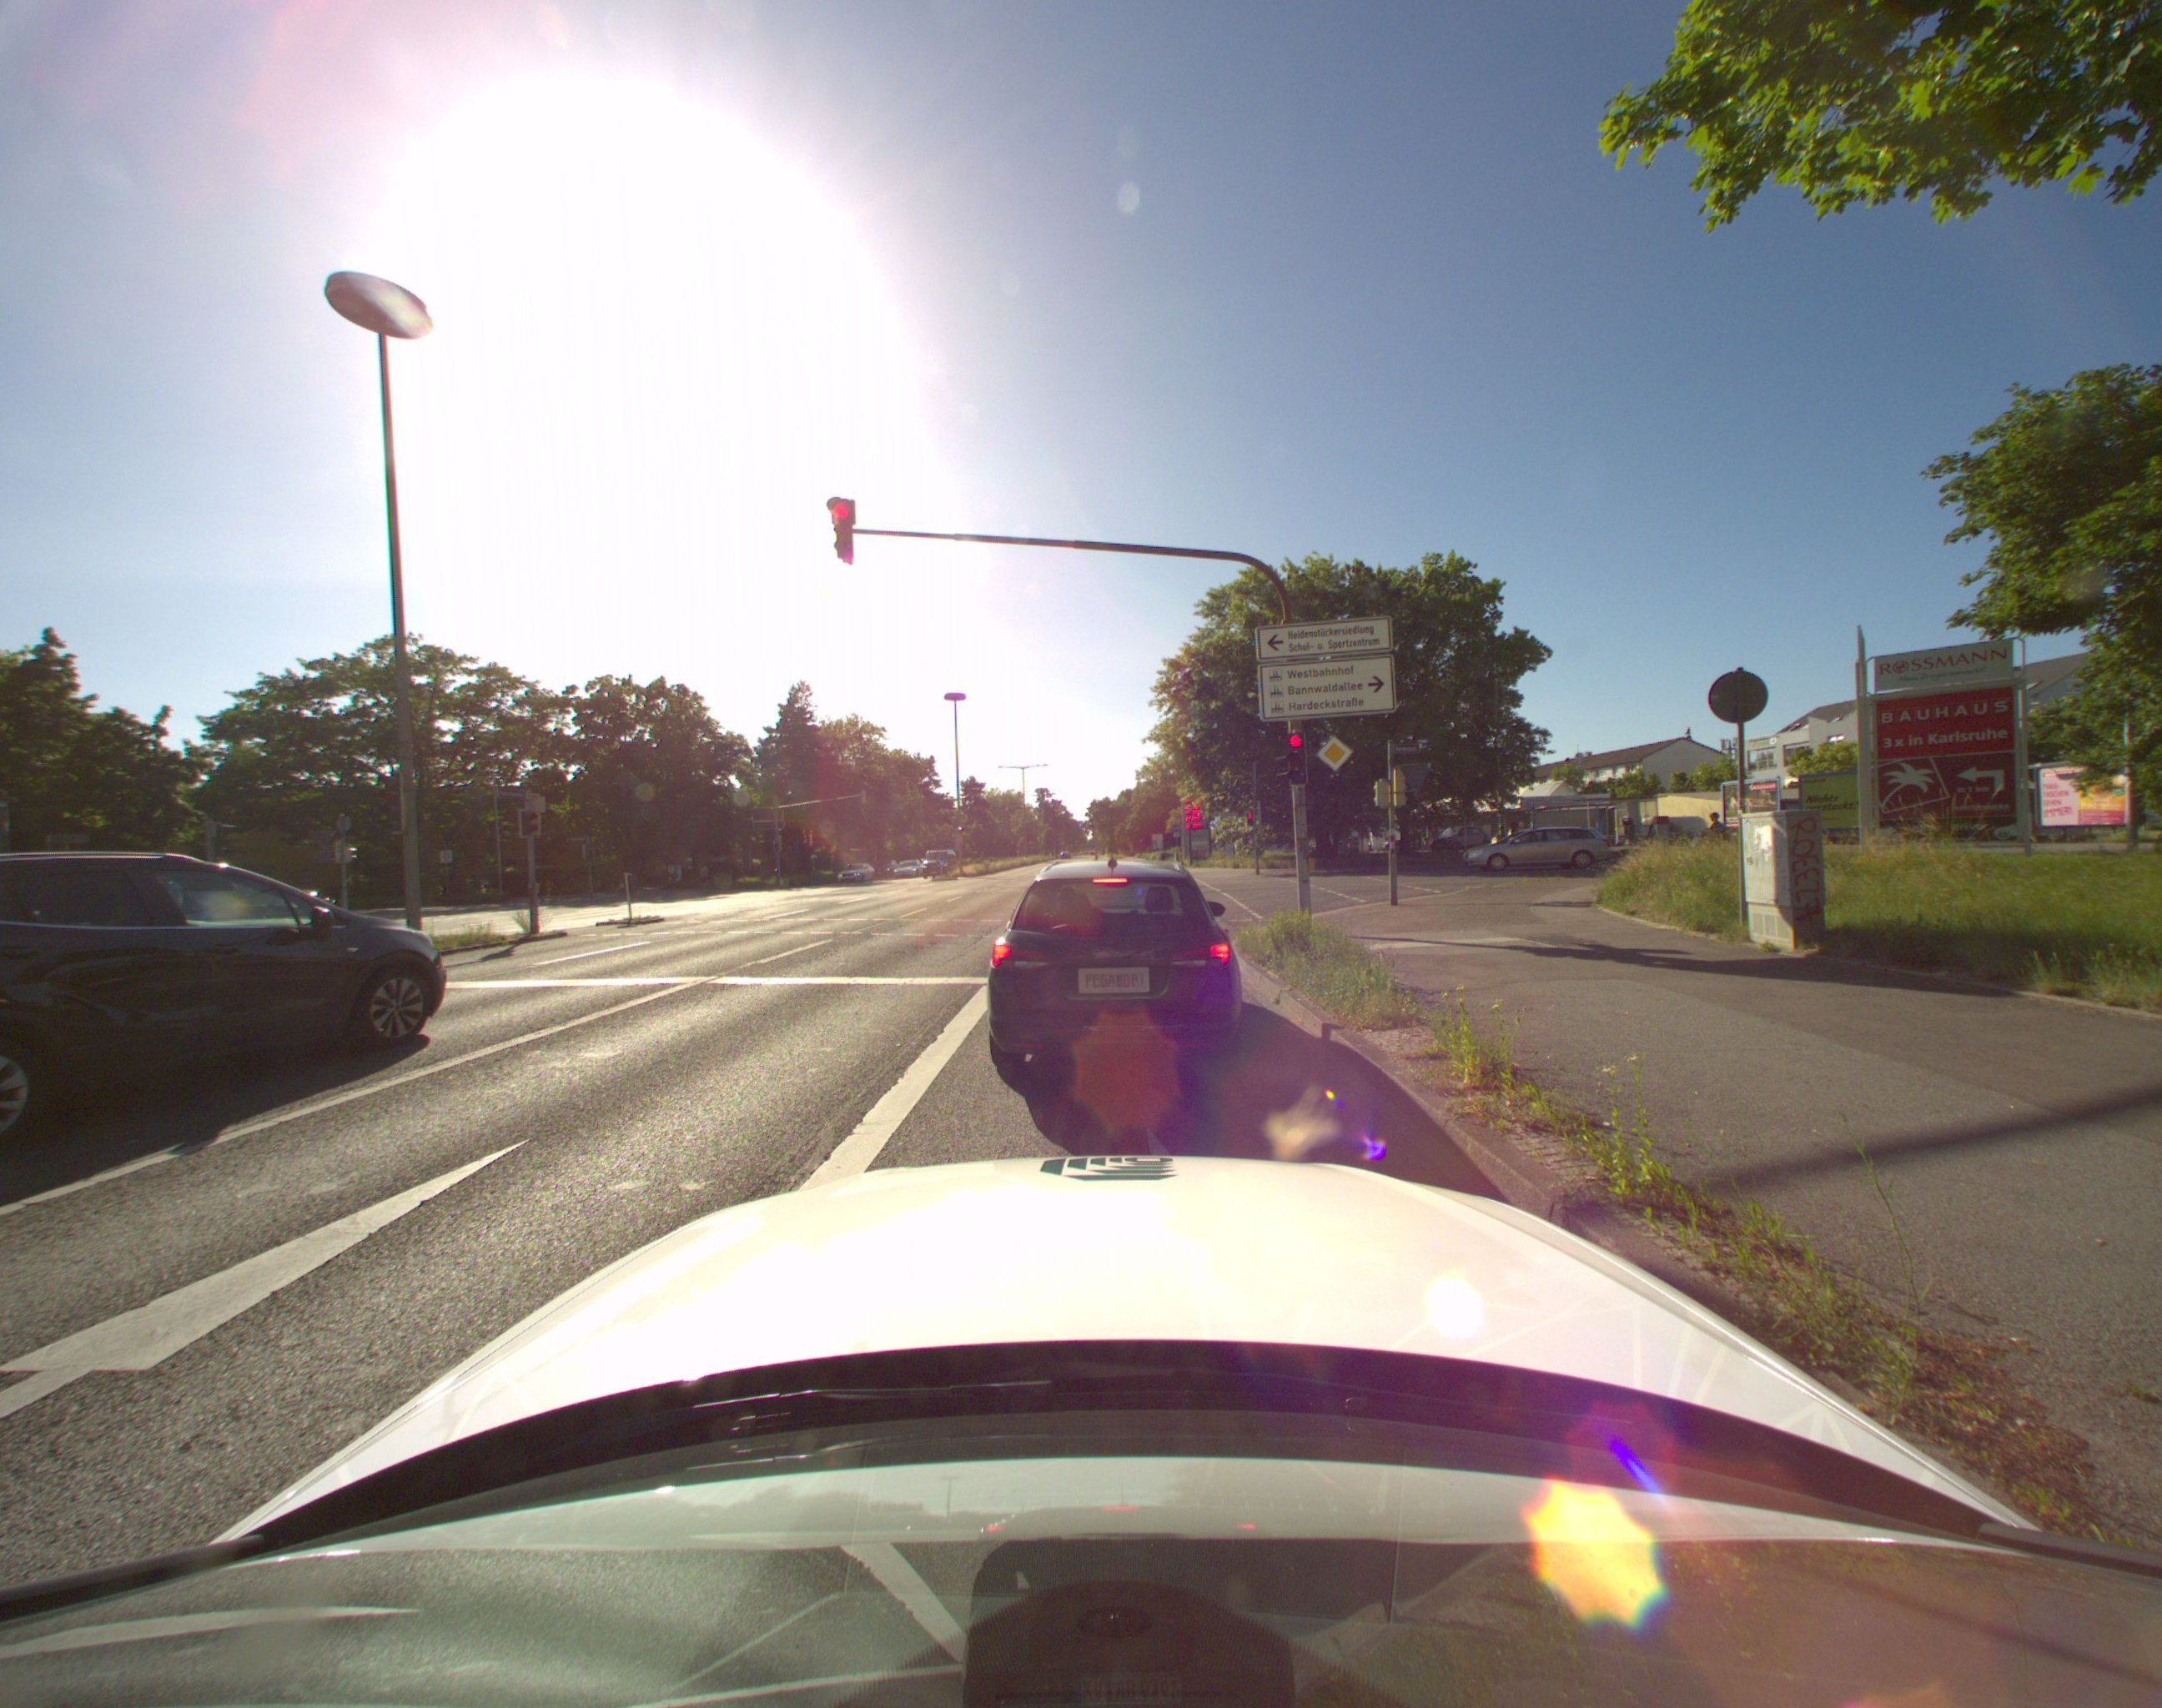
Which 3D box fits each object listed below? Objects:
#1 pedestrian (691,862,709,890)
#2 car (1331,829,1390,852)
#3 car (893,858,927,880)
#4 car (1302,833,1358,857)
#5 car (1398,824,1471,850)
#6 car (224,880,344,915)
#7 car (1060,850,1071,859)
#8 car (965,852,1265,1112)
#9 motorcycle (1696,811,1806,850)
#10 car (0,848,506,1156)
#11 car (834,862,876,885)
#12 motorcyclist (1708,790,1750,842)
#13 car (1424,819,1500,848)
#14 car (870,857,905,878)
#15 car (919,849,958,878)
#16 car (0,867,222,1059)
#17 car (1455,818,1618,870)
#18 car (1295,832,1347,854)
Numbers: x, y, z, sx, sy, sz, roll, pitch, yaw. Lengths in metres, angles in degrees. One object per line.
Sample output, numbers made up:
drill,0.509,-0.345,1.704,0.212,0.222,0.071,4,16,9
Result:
pedestrian,-25.001,1.446,53.484,0.841,1.835,0.550,-3,0,5
car,19.387,-0.909,56.436,3.860,1.563,1.787,0,-1,-31
car,-13.863,1.202,66.226,1.857,1.684,4.002,0,0,2
car,17.957,-0.648,58.772,3.729,1.685,1.690,0,-1,-25
car,21.413,-1.017,49.404,3.846,1.482,1.794,0,-1,-18
car,-34.860,1.863,35.643,3.892,1.423,1.876,0,-1,12
car,-2.868,0.178,150.465,1.881,1.552,4.001,-2,0,2
car,0.253,0.776,6.764,1.749,1.509,3.810,-1,0,1
motorcycle,22.272,-0.765,27.132,2.703,1.270,0.838,0,-1,17
car,-6.540,0.814,5.736,1.689,1.632,4.419,-2,0,2
car,-17.267,1.470,62.459,1.857,1.684,4.262,0,0,2
motorcyclist,21.714,-1.255,27.313,0.853,1.680,0.838,-1,-1,18
car,22.187,-1.167,47.475,3.846,1.612,1.794,0,-1,-18
car,-17.185,1.152,72.590,1.986,1.750,4.002,-2,0,2
car,-10.240,0.655,58.786,1.986,2.014,4.001,0,0,2
car,-10.107,0.972,6.614,1.778,1.610,4.107,-2,0,2
car,15.903,-0.319,28.692,4.586,1.574,2.007,-2,-1,13
car,19.012,-0.885,64.591,3.701,1.685,1.703,0,-1,-1
